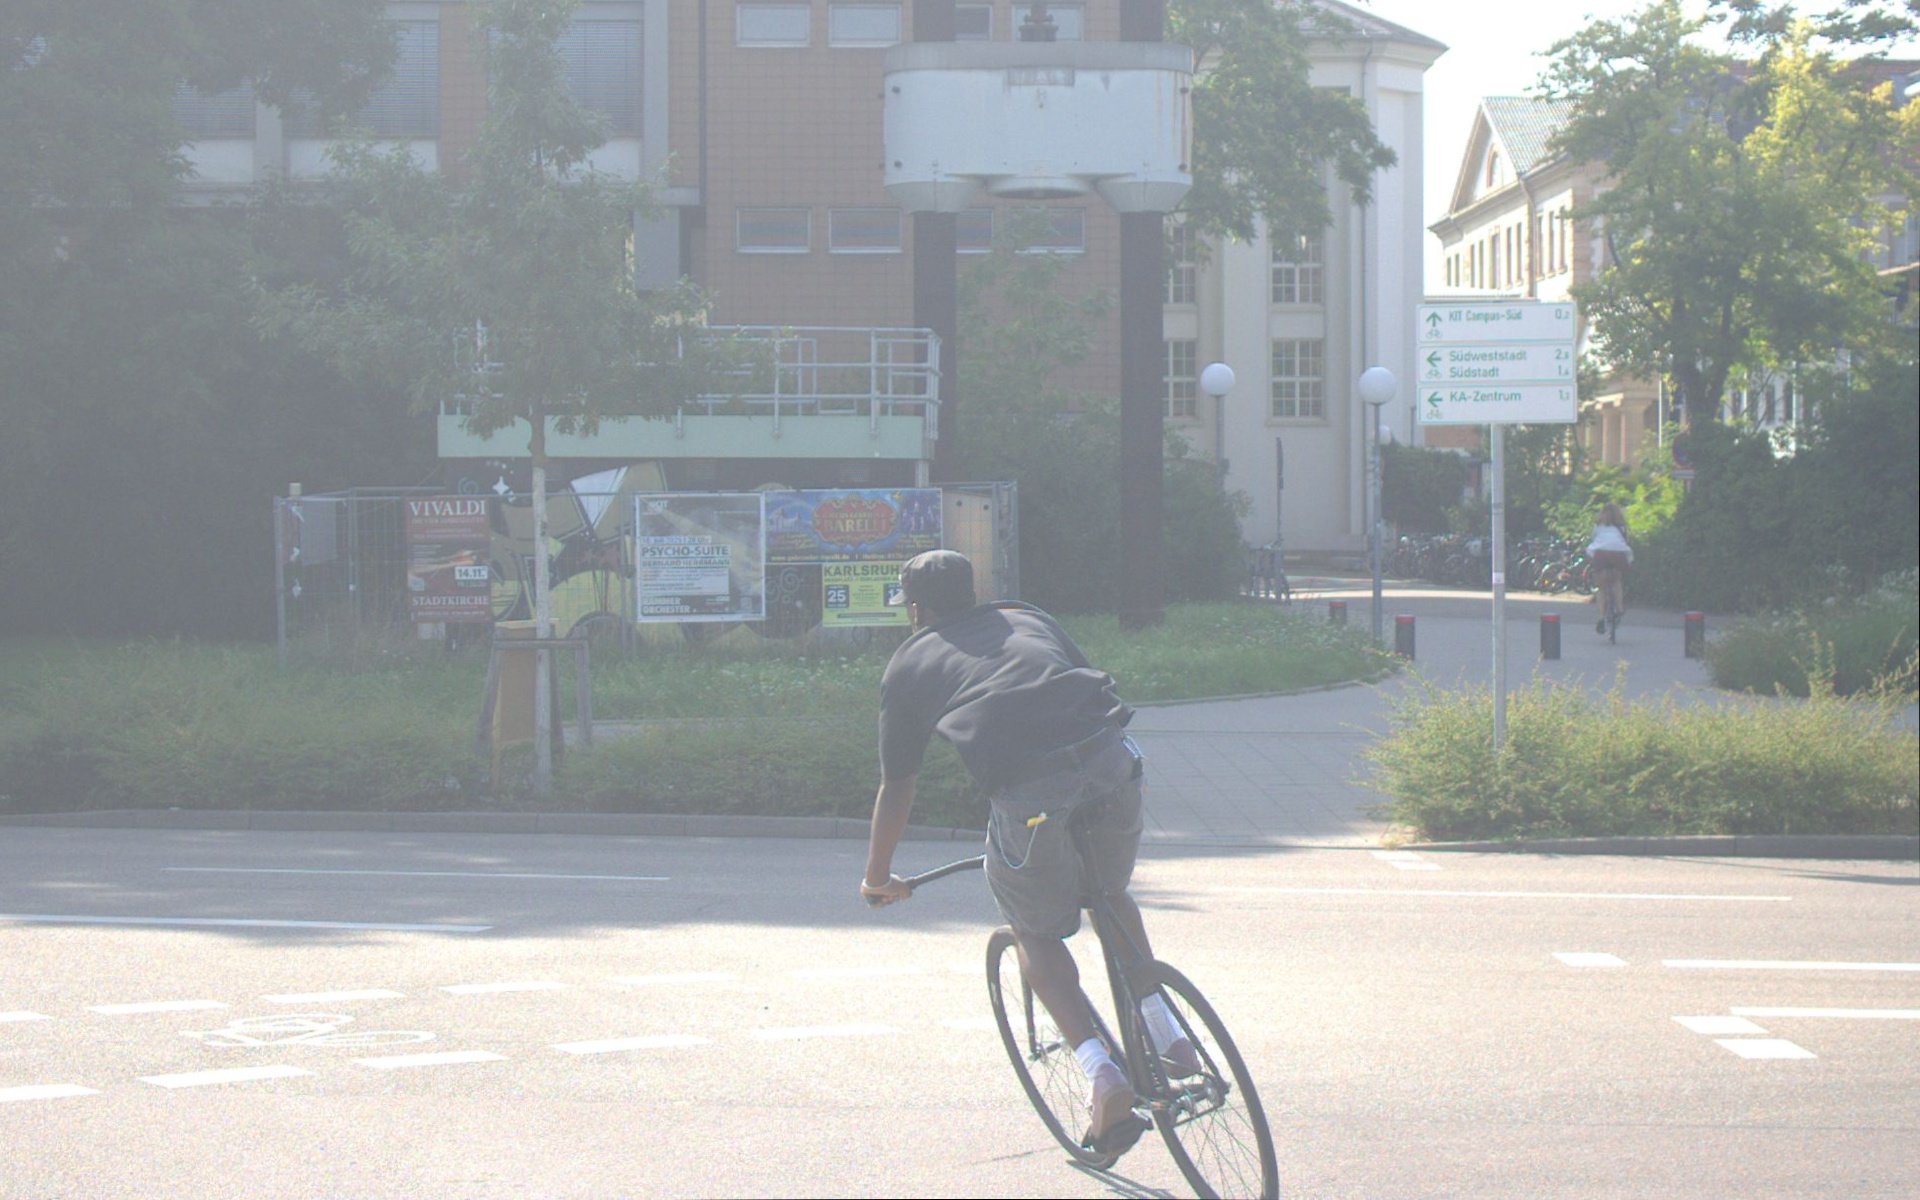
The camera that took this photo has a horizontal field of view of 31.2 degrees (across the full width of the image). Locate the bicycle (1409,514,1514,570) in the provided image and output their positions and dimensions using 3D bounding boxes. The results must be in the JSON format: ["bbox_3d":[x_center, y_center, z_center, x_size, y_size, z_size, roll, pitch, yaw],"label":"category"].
[{"bbox_3d":[12.145,-1.407,83.267,2.427,1.277,0.720,2,1,4],"label":"bicycle"}]

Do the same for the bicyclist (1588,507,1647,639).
[{"bbox_3d":[8.071,-0.344,42.203,0.650,1.596,0.919,0,1,7],"label":"bicyclist"}]

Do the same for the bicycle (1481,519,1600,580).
[{"bbox_3d":[12.477,-1.095,73.925,2.427,1.230,0.720,2,1,4],"label":"bicycle"}]

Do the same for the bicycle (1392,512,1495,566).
[{"bbox_3d":[12.007,-1.513,85.408,2.427,1.258,0.720,2,1,4],"label":"bicycle"}]

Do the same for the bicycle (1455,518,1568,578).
[{"bbox_3d":[12.410,-1.181,77.404,2.427,1.277,0.720,2,1,4],"label":"bicycle"}]

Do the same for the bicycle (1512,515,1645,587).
[{"bbox_3d":[12.051,-0.956,67.034,2.427,1.314,0.720,2,1,4],"label":"bicycle"}]

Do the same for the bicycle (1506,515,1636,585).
[{"bbox_3d":[12.105,-0.996,68.169,2.427,1.314,0.720,2,1,4],"label":"bicycle"}]

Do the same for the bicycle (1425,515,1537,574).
[{"bbox_3d":[11.889,-1.275,78.541,2.427,1.277,0.720,2,1,4],"label":"bicycle"}]

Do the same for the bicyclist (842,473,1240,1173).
[{"bbox_3d":[0.170,0.507,8.290,0.771,1.573,0.991,0,-1,-9],"label":"bicyclist"}]

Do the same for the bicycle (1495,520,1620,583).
[{"bbox_3d":[12.279,-0.998,70.706,2.427,1.219,0.720,2,1,4],"label":"bicycle"}]

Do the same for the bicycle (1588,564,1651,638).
[{"bbox_3d":[8.104,0.001,42.269,0.673,0.876,1.401,0,2,7],"label":"bicycle"}]

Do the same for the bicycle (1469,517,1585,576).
[{"bbox_3d":[12.491,-1.181,75.818,2.427,1.224,0.720,2,1,4],"label":"bicycle"}]

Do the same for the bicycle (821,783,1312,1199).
[{"bbox_3d":[0.186,0.971,8.281,0.771,0.972,2.150,0,-1,-9],"label":"bicycle"}]

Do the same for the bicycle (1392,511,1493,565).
[{"bbox_3d":[12.115,-1.561,86.421,2.427,1.276,0.720,2,1,4],"label":"bicycle"}]

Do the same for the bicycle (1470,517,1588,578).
[{"bbox_3d":[12.369,-1.142,74.773,2.427,1.235,0.720,2,1,4],"label":"bicycle"}]
